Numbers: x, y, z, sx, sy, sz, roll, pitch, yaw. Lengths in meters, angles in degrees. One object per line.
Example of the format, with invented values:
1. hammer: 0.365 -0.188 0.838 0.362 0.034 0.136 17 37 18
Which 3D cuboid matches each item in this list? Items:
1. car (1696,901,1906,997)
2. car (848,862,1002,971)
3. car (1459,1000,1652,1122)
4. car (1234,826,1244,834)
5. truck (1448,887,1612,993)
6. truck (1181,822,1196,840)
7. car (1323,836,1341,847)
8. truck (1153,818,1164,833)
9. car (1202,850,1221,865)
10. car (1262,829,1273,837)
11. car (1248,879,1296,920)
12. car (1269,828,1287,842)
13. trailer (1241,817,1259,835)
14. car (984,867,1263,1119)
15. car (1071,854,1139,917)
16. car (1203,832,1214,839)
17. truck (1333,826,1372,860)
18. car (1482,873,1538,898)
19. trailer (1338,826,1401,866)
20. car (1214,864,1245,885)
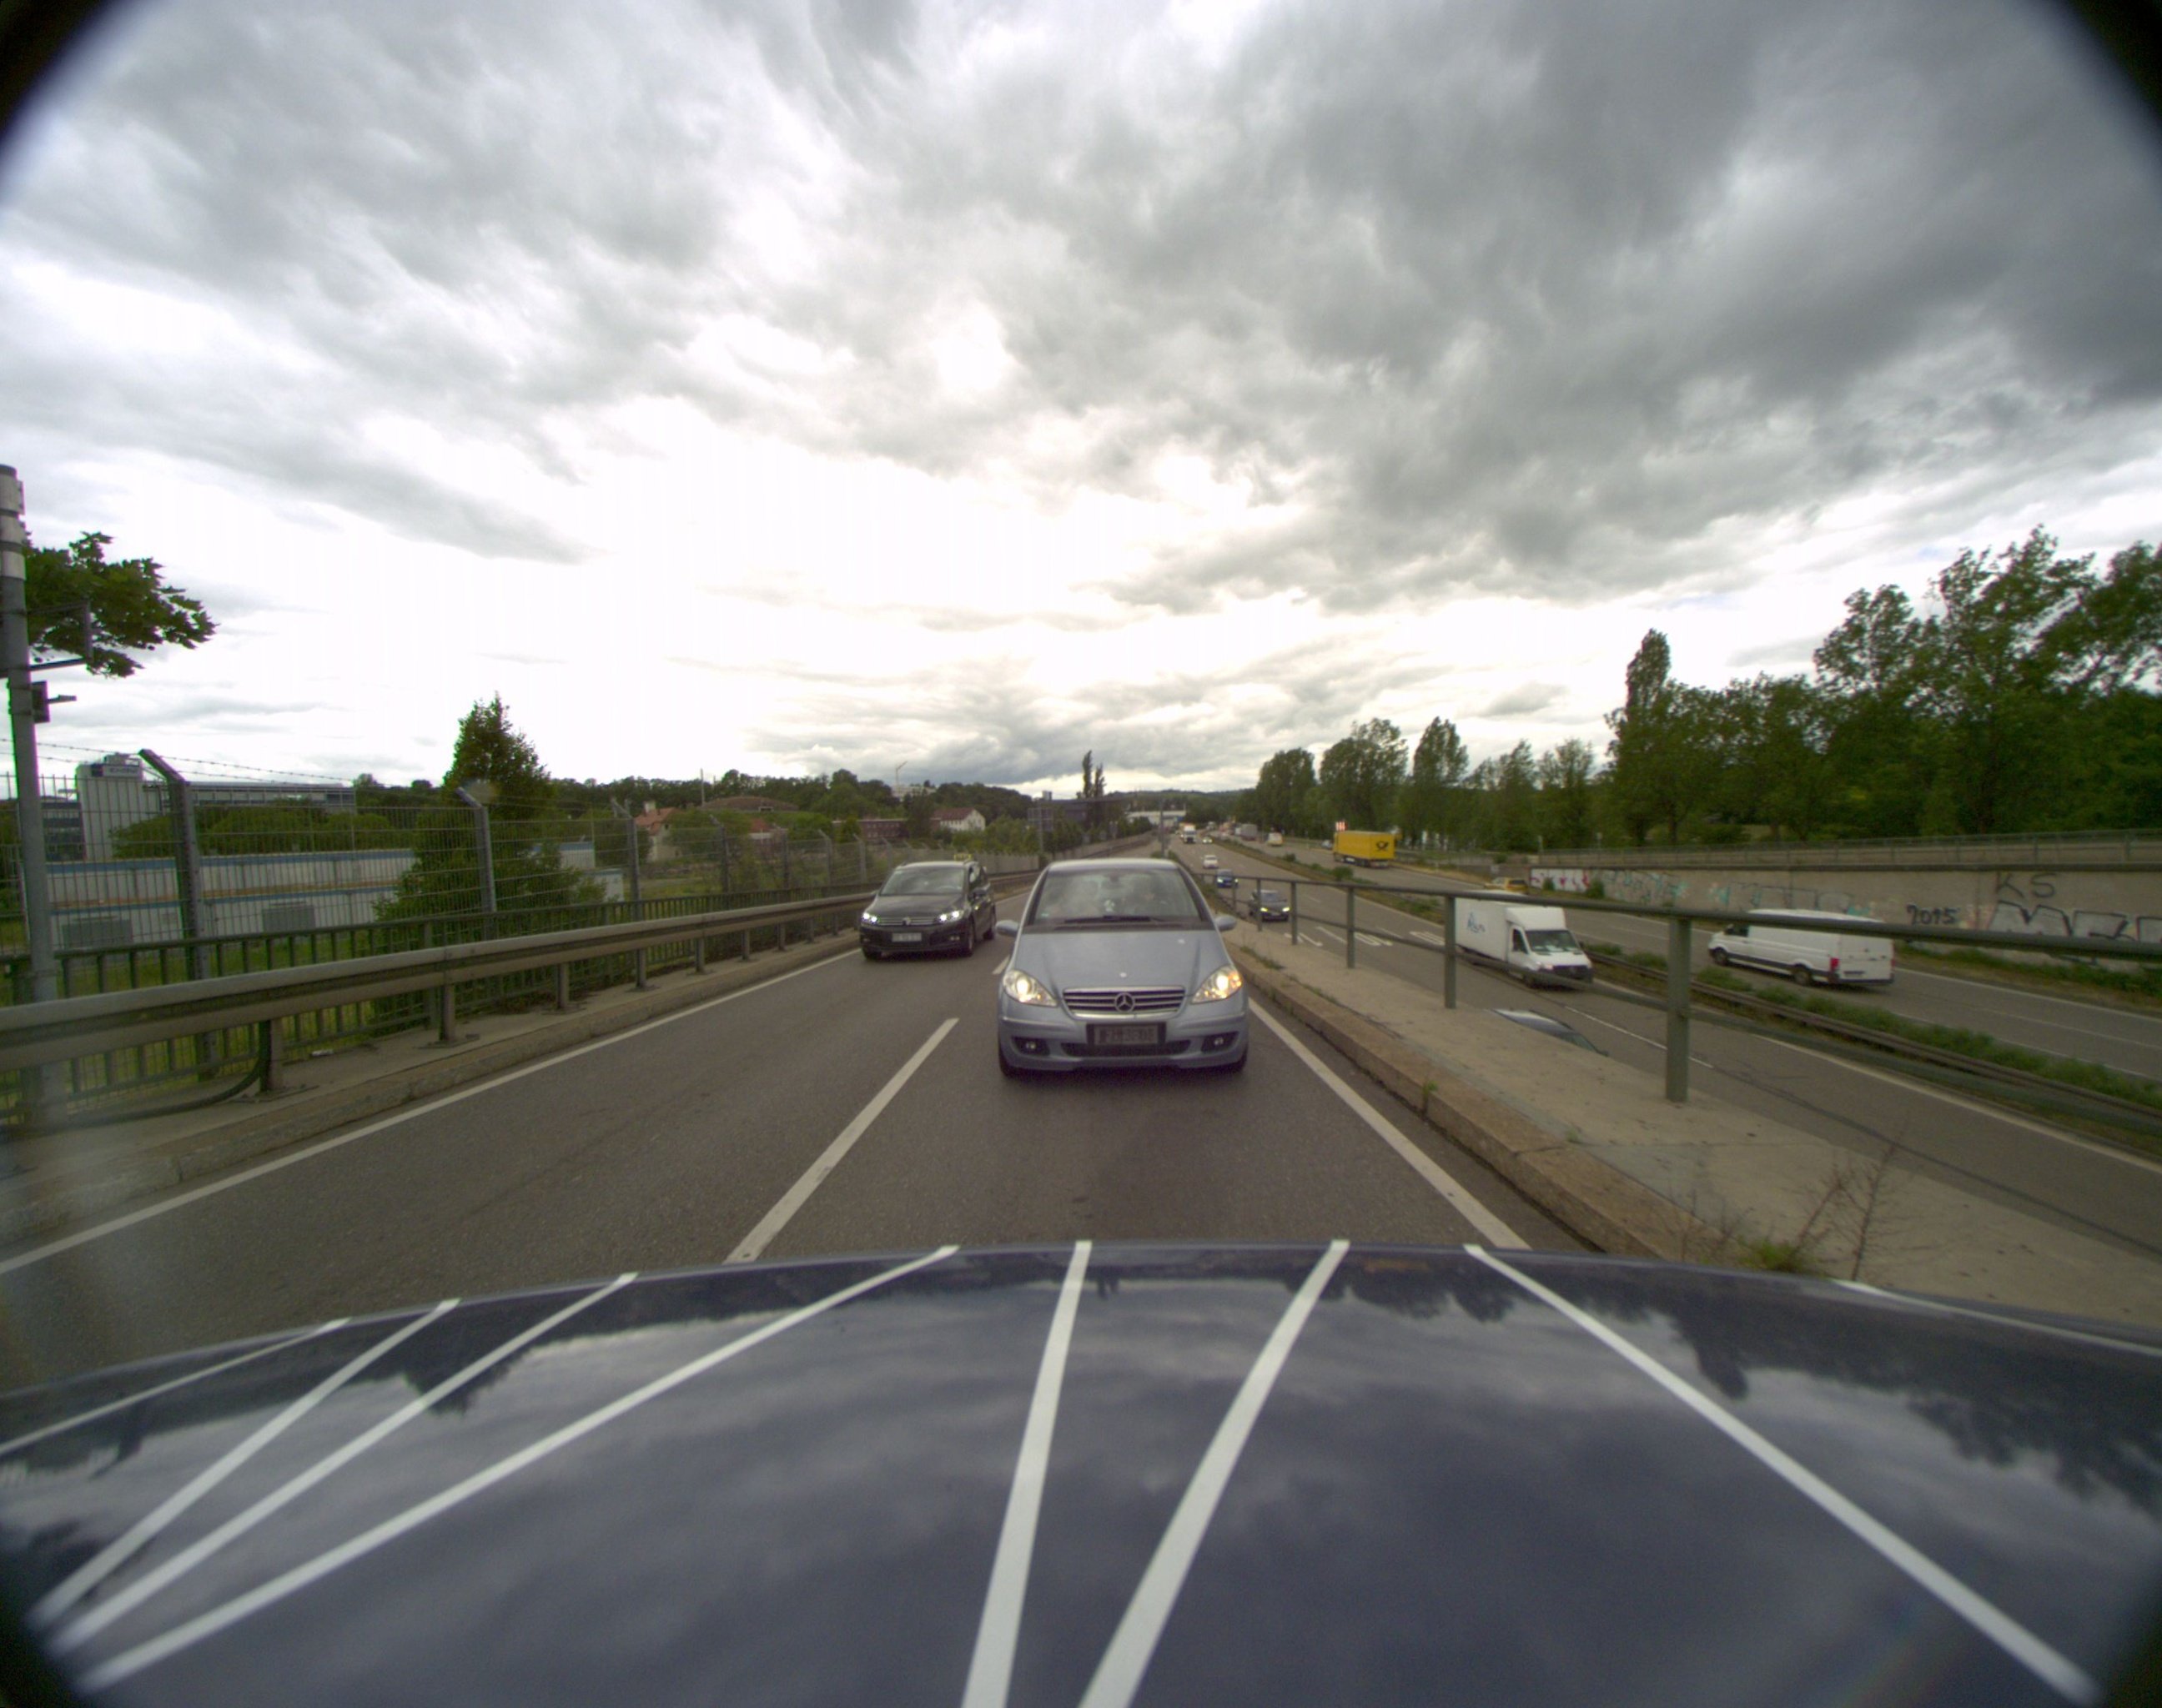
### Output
1. car: 26.931 3.414 28.878 2.172 2.580 6.099 -1 3 1
2. car: -2.665 1.015 14.018 1.800 1.643 4.151 -2 -1 2
3. car: 10.545 4.559 17.312 1.828 1.443 4.125 0 3 1
4. car: 51.884 -7.848 249.560 1.998 2.635 5.179 2 3 2
5. truck: 17.223 3.119 29.827 2.239 2.993 7.228 -1 3 1
6. truck: 24.667 -5.309 174.017 3.010 4.087 5.872 0 3 4
7. car: 44.579 -2.245 135.009 1.897 1.643 4.377 -3 2 3
8. truck: 22.960 -8.416 224.659 3.101 3.990 8.487 -1 4 5
9. car: 15.411 0.379 89.959 1.769 1.520 3.335 0 3 3
10. car: 48.420 -5.351 197.094 1.998 1.890 4.583 2 3 5
11. car: 11.527 2.715 46.128 1.998 2.003 3.999 1 3 3
12. car: 39.048 -3.865 150.699 1.998 2.614 6.711 1 3 3
13. trailer: 43.925 -7.368 198.115 2.792 4.117 13.761 -1 3 5
14. car: 0.301 0.916 6.789 1.743 1.534 3.993 -1 0 1
15. car: 0.691 0.910 23.130 1.830 1.701 4.001 -2 -1 1
16. car: 28.771 -4.196 171.807 1.854 1.562 4.436 -1 4 2
17. truck: 34.705 -1.444 97.362 3.247 4.159 5.803 0 3 4
18. car: 31.974 2.312 56.740 1.872 1.449 4.151 -1 3 1
19. trailer: 34.163 -1.160 90.687 3.247 4.239 13.677 0 3 4
20. car: 13.062 1.797 67.241 1.998 1.524 3.998 0 3 1
